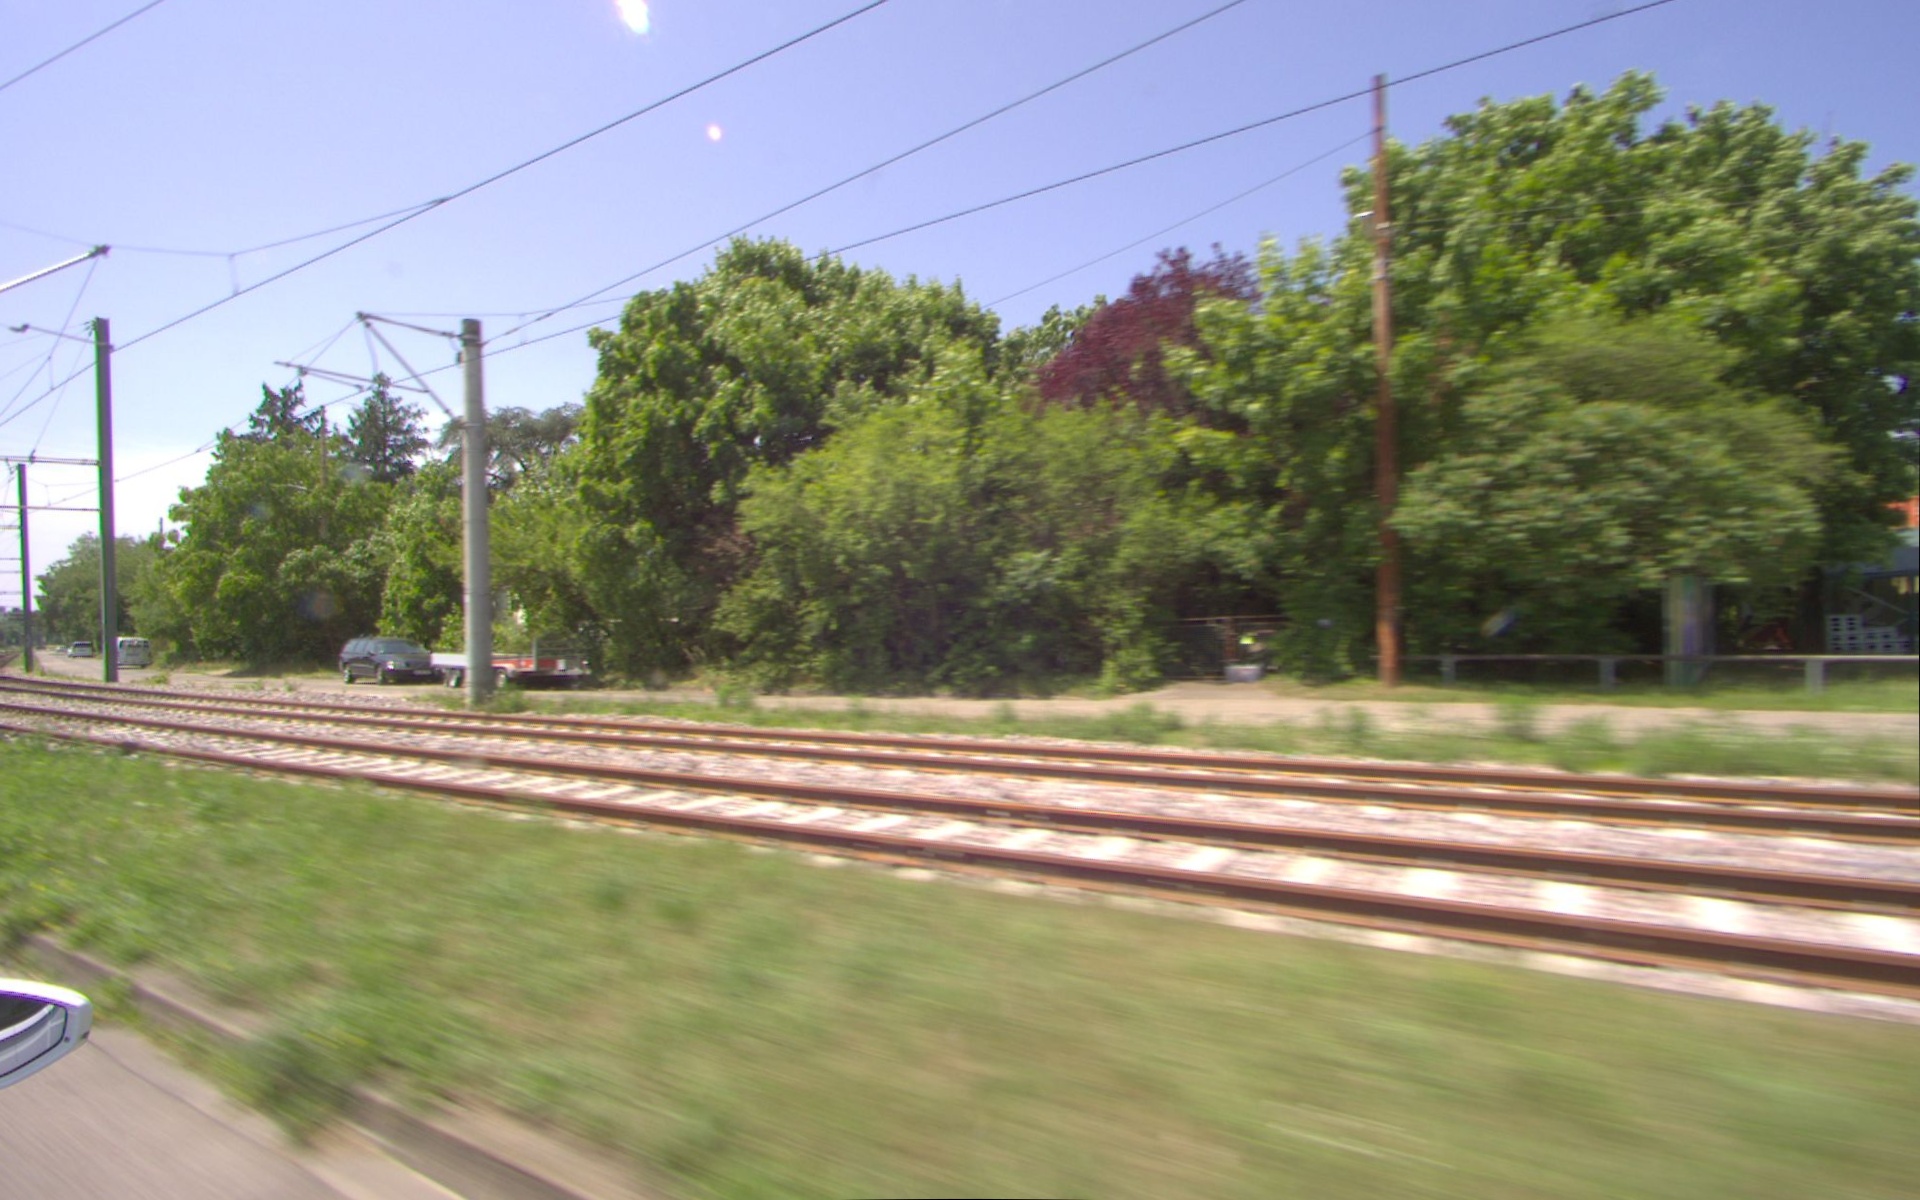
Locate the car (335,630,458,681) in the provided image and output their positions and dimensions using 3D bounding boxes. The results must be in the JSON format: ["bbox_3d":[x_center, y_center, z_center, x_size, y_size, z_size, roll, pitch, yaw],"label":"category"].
[{"bbox_3d":[-17.736,1.749,31.436,4.685,1.444,1.789,-3,-1,39],"label":"car"}]

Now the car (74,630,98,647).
[{"bbox_3d":[-105.490,4.661,120.880,1.979,1.825,4.751,-2,-1,-43],"label":"car"}]

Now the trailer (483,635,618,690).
[{"bbox_3d":[-10.435,1.588,25.404,3.954,1.238,1.455,-3,-1,40],"label":"trailer"}]

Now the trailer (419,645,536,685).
[{"bbox_3d":[-13.492,1.772,27.936,3.952,1.007,1.414,-1,-3,39],"label":"trailer"}]

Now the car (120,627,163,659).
[{"bbox_3d":[-52.988,2.782,64.792,2.020,1.906,5.027,-2,-1,-41],"label":"car"}]
